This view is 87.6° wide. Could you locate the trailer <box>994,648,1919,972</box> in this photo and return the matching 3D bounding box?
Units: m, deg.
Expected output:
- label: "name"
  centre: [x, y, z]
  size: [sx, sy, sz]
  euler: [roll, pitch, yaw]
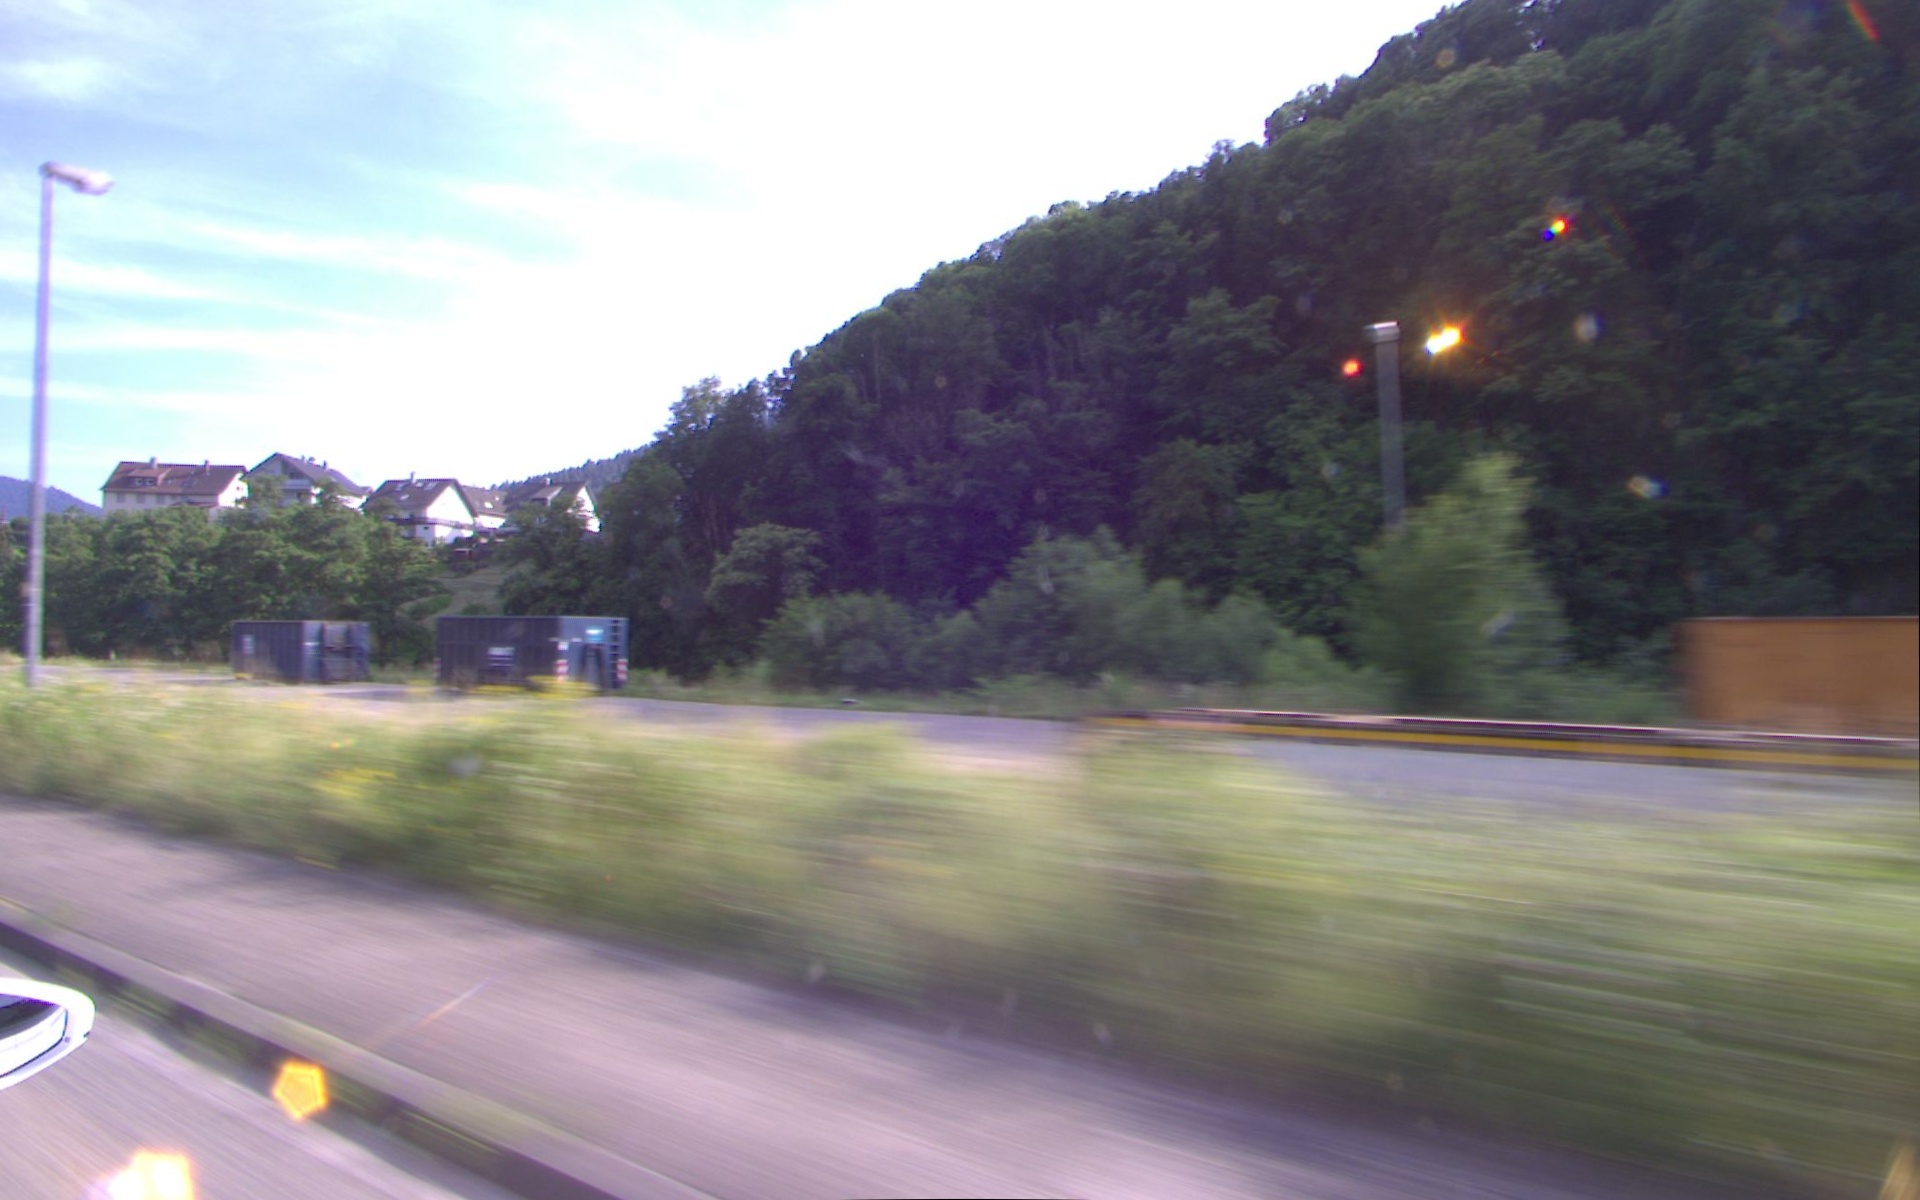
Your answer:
- label: "trailer"
  centre: [5.145, 1.225, 6.410]
  size: [9.743, 1.492, 2.791]
  euler: [0, -5, 32]
